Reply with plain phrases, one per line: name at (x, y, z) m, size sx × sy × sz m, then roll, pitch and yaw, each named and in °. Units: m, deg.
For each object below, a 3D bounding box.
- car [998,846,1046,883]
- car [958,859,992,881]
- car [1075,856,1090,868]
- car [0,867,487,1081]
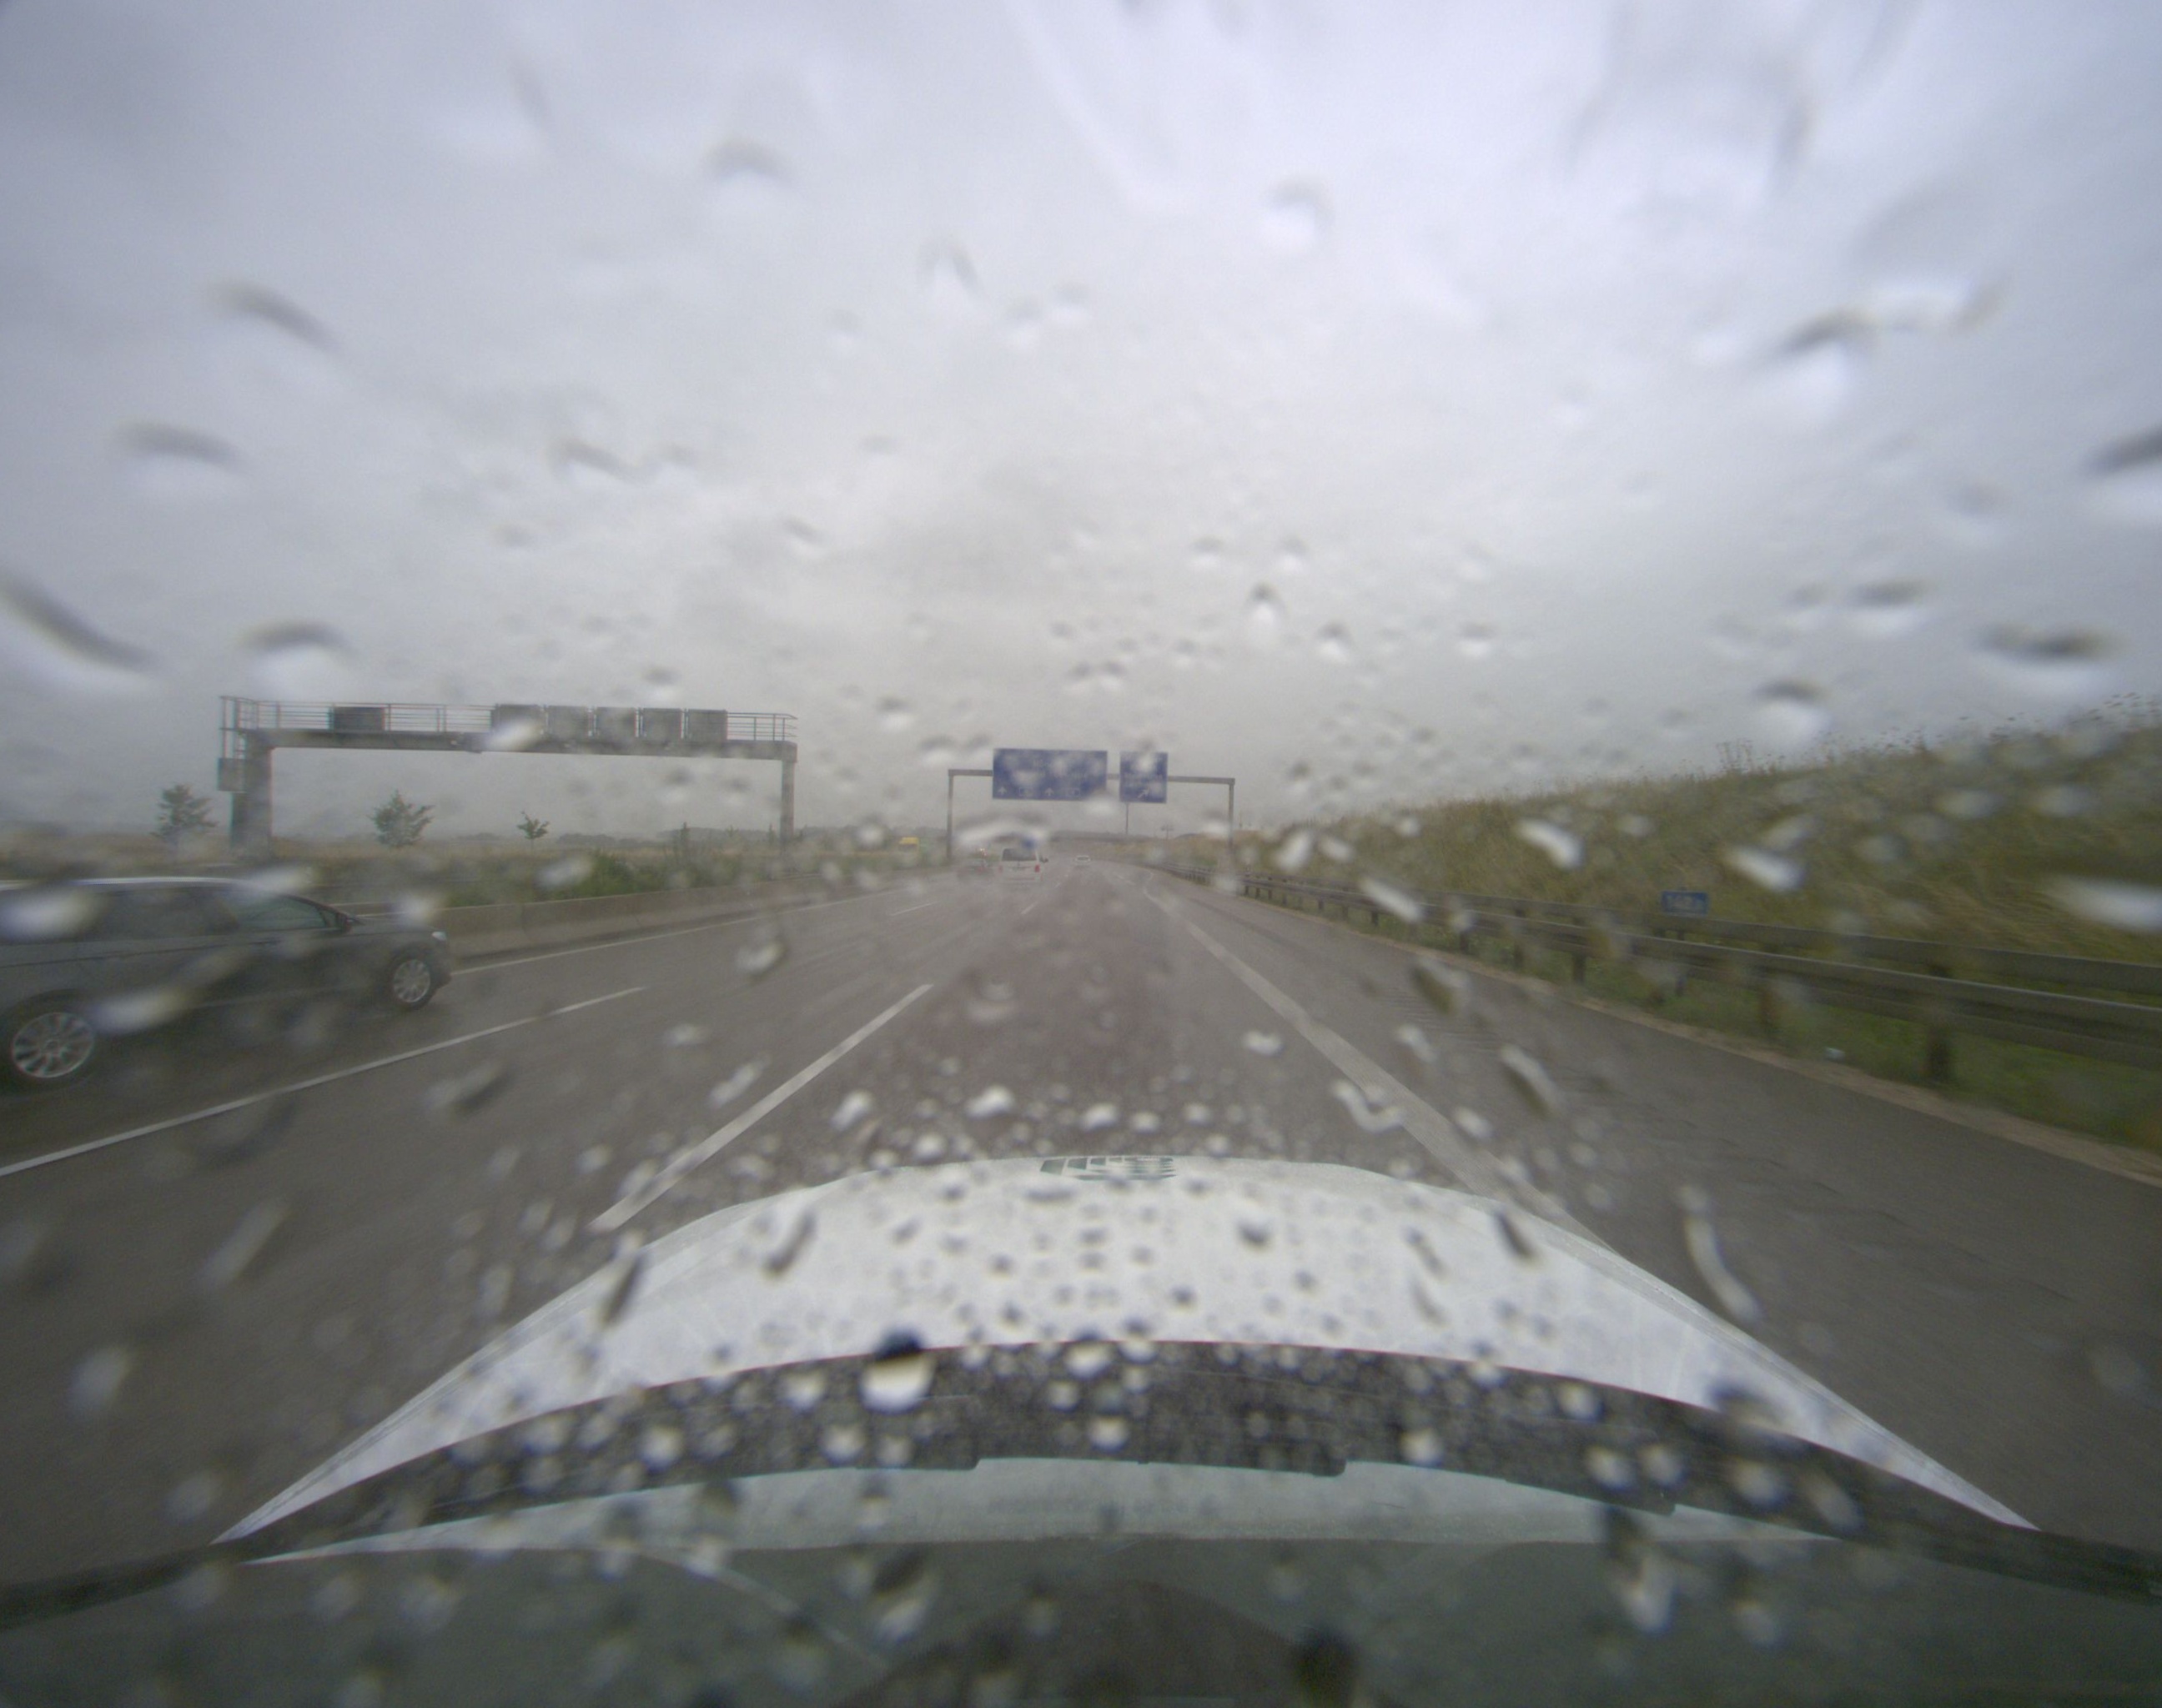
car at (-2.625, 0.469, 37.230) m, size 1.891 × 1.585 × 3.999 m, roll 0°, pitch 0°, yaw 0°
car at (-6.225, 0.922, 48.026) m, size 1.463 × 1.257 × 3.340 m, roll -1°, pitch 0°, yaw 1°
car at (0.191, 0.808, 81.547) m, size 1.463 × 1.208 × 2.991 m, roll -1°, pitch 0°, yaw 0°
car at (-7.658, 0.829, 7.372) m, size 1.607 × 1.354 × 3.999 m, roll -1°, pitch 0°, yaw 0°
